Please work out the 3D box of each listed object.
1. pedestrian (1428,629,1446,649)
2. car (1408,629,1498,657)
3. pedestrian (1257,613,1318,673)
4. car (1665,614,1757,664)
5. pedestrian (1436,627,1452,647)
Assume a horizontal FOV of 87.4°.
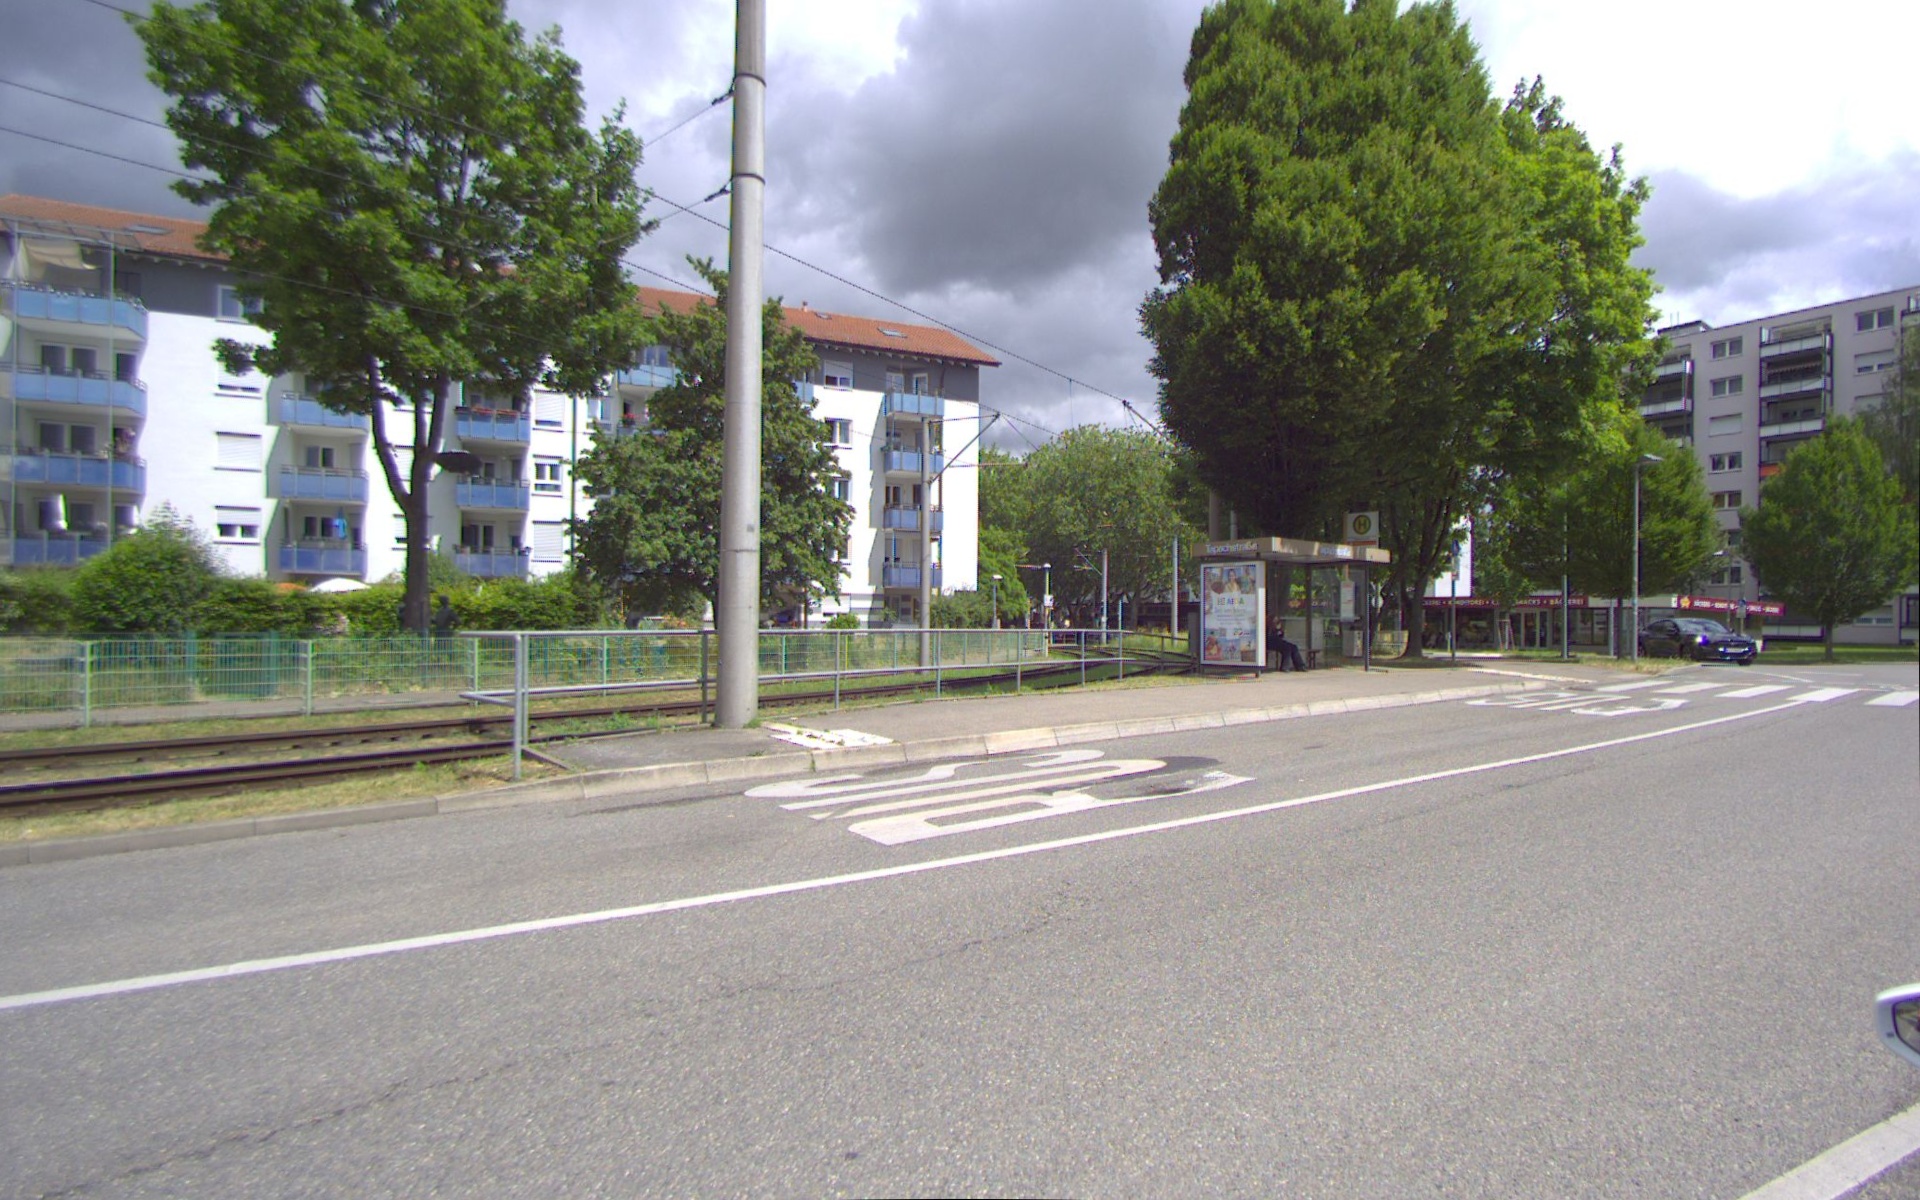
[{"bbox_3d":[33.143,2.674,69.781,0.871,1.342,0.815,1,1,-32],"label":"pedestrian"},{"bbox_3d":[25.739,2.201,52.629,1.791,1.402,4.609,0,-2,-11],"label":"car"},{"bbox_3d":[6.526,0.835,20.035,0.903,1.150,0.792,1,0,-38],"label":"pedestrian"},{"bbox_3d":[25.064,1.279,33.673,1.965,1.546,4.515,-1,-2,31],"label":"car"},{"bbox_3d":[33.835,2.587,70.279,0.710,1.399,0.694,0,-2,-25],"label":"pedestrian"}]
